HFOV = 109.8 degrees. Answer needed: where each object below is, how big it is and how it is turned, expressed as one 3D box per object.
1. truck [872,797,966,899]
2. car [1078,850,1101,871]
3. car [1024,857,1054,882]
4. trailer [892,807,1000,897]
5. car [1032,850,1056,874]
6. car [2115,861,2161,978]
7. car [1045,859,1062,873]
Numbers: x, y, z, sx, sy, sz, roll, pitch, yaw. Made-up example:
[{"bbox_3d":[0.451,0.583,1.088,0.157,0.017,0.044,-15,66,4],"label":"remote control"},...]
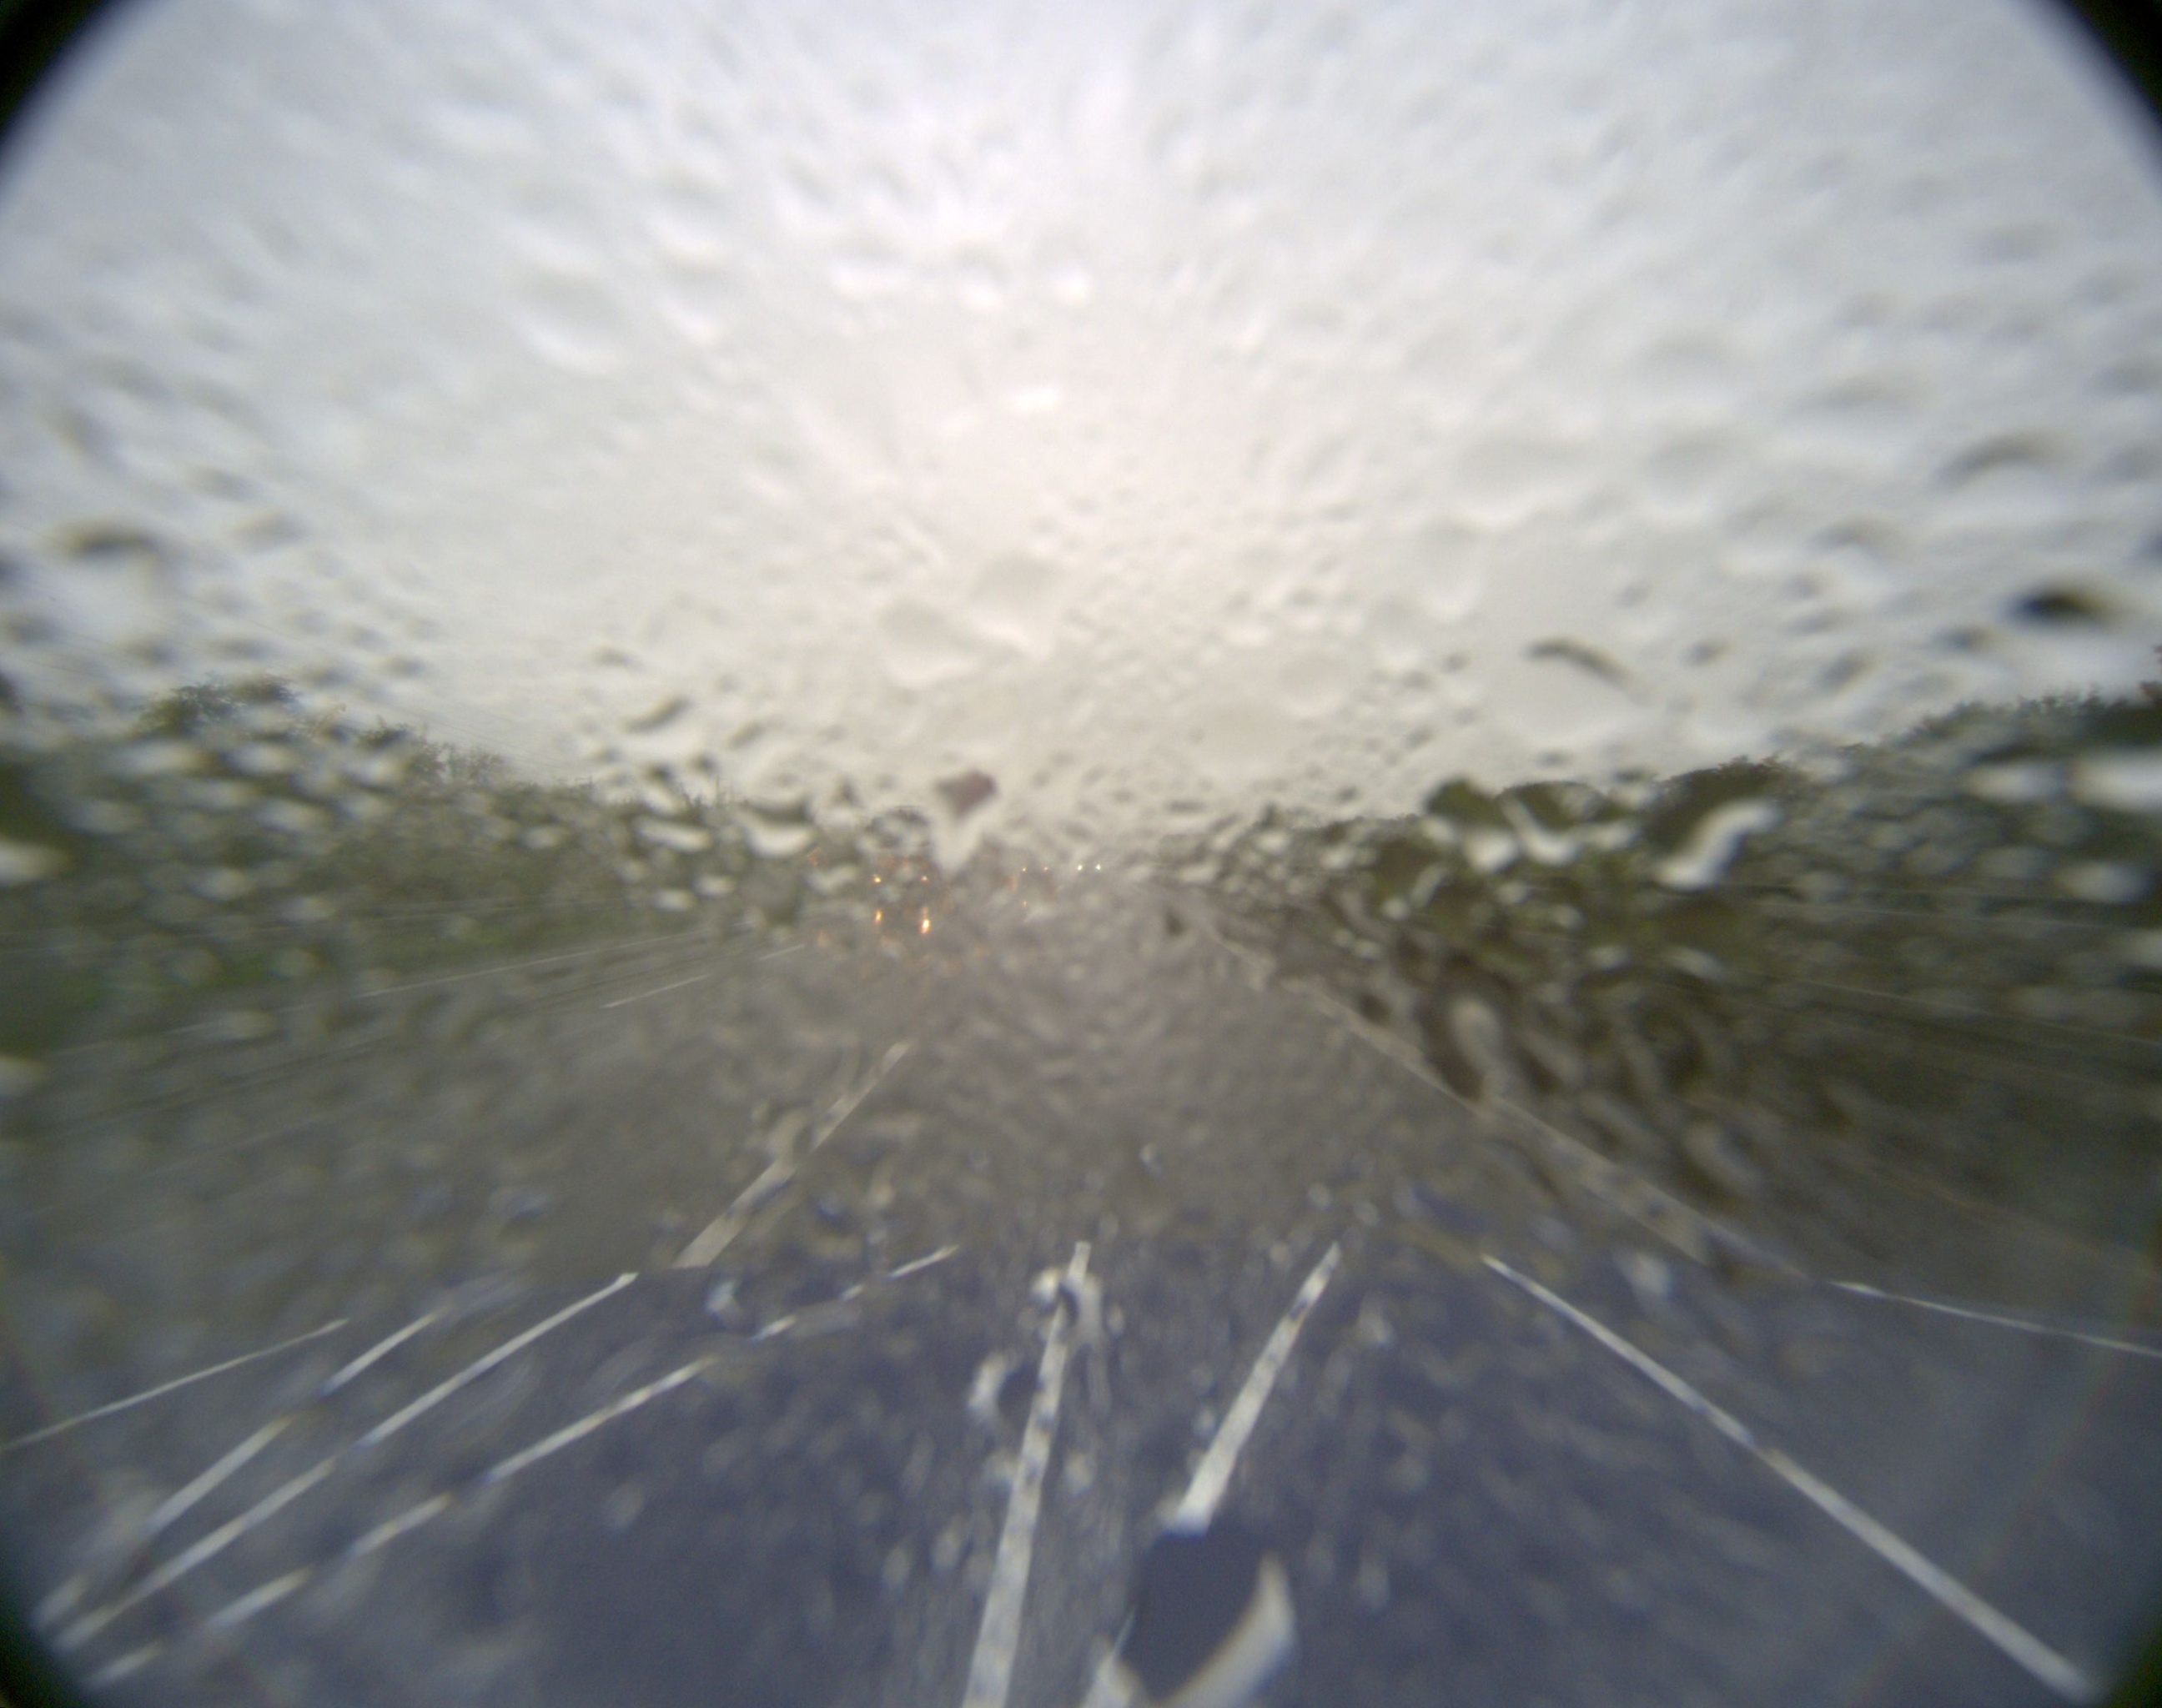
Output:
[{"bbox_3d":[-6.703,-0.218,32.311,2.457,3.866,6.199,-2,0,1],"label":"truck"},{"bbox_3d":[0.731,0.553,64.050,1.845,1.671,4.000,-2,0,0],"label":"car"},{"bbox_3d":[-2.702,0.995,49.580,1.663,1.491,3.836,-2,0,1],"label":"car"},{"bbox_3d":[-6.601,-0.059,40.455,2.486,3.743,16.545,-2,0,1],"label":"trailer"},{"bbox_3d":[-2.680,0.555,55.094,1.517,1.606,3.186,-2,0,0],"label":"car"},{"bbox_3d":[14.959,0.823,7.564,1.932,1.503,5.434,-2,0,1],"label":"car"},{"bbox_3d":[-3.417,1.441,93.686,1.845,1.671,4.000,-2,0,0],"label":"car"}]
